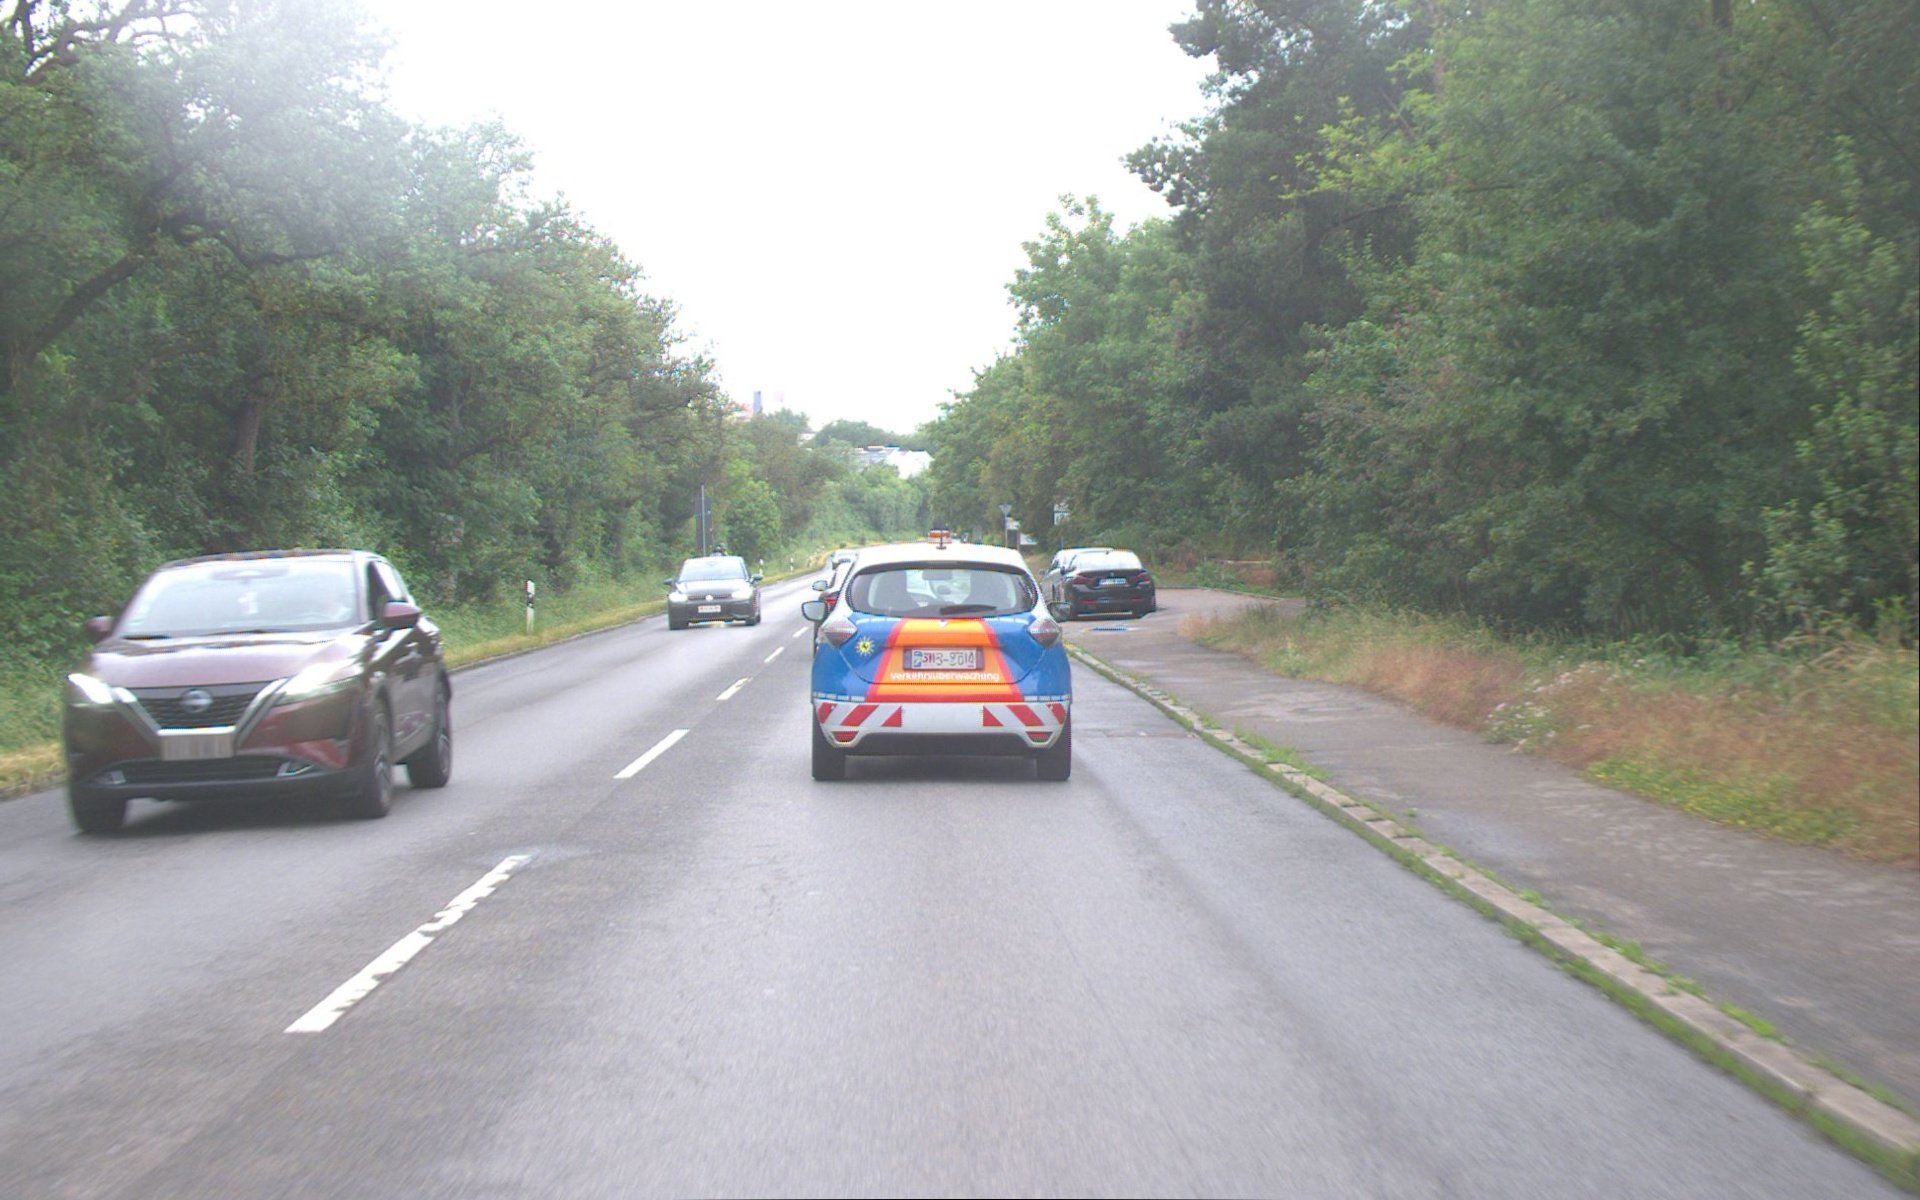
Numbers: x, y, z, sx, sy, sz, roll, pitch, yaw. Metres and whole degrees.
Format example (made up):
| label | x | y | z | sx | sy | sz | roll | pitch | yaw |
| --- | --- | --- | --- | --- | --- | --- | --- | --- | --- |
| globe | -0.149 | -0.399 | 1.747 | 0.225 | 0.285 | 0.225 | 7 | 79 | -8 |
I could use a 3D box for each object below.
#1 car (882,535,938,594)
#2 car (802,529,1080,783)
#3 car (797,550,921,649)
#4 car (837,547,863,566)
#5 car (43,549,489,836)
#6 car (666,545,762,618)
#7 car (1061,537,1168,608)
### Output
| label | x | y | z | sx | sy | sz | roll | pitch | yaw |
| --- | --- | --- | --- | --- | --- | --- | --- | --- | --- |
| car | -1.640 | -1.164 | 111.928 | 1.743 | 1.875 | 4.000 | 0 | 1 | -2 |
| car | -0.154 | 0.319 | 23.673 | 1.752 | 1.550 | 3.793 | 0 | 2 | -1 |
| car | -1.379 | -0.035 | 48.016 | 1.598 | 1.282 | 3.476 | -1 | 1 | 0 |
| car | -8.212 | -3.244 | 257.416 | 1.884 | 1.382 | 4.001 | 0 | 1 | -2 |
| car | -4.192 | 0.484 | 21.497 | 1.905 | 1.551 | 4.516 | -1 | 1 | -1 |
| car | -5.038 | -0.405 | 70.867 | 1.710 | 1.394 | 4.150 | -3 | 1 | -1 |
| car | 3.143 | -0.580 | 70.677 | 1.993 | 1.371 | 4.000 | -1 | 1 | 0 |
